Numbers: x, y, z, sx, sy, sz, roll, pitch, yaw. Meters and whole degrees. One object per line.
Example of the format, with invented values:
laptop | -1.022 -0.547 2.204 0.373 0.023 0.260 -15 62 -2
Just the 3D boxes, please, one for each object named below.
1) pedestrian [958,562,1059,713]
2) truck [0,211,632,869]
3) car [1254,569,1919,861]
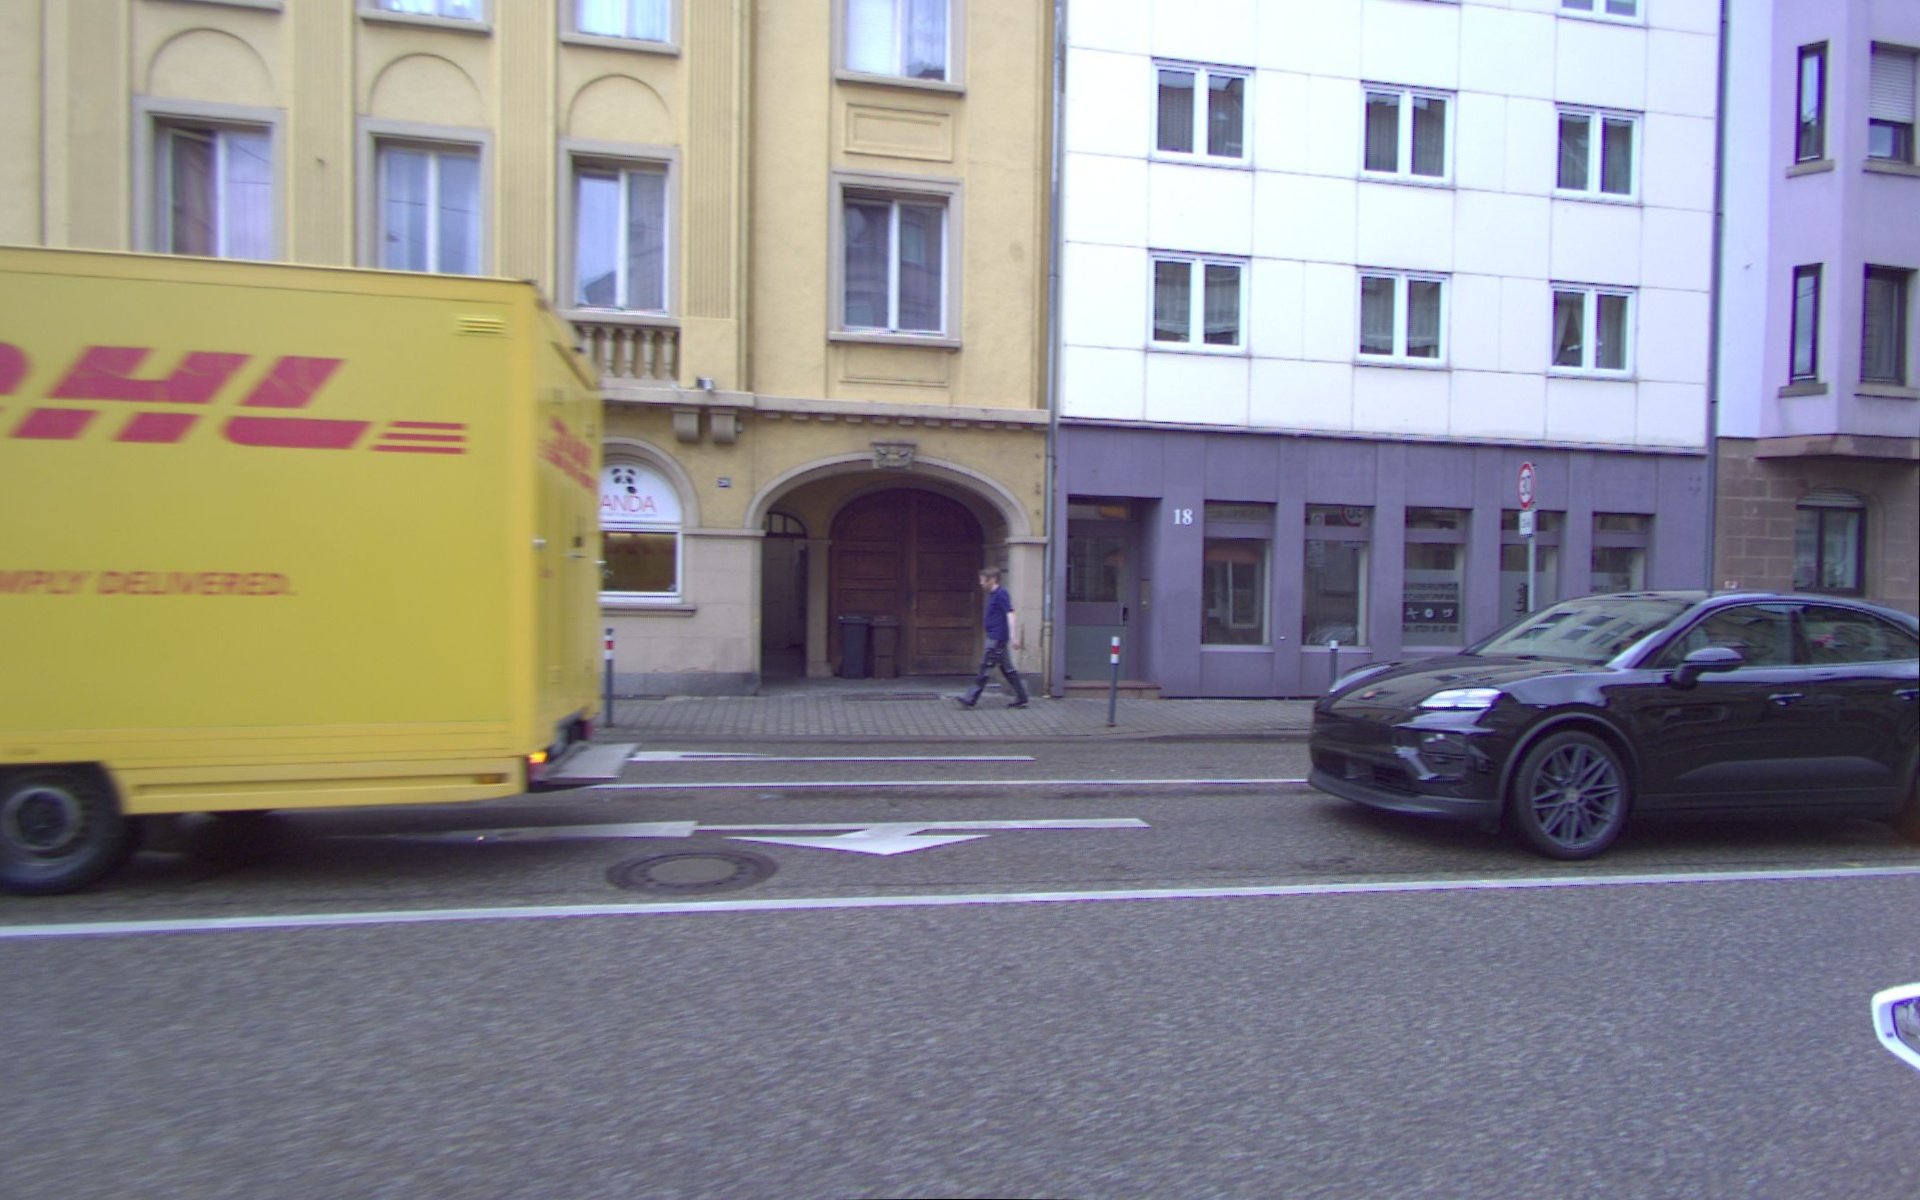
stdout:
pedestrian | 0.590 0.453 12.657 1.015 1.795 0.893 2 4 -12
truck | -5.449 -0.286 5.101 6.901 2.787 2.230 2 0 -12
car | 4.594 0.699 6.938 4.524 1.604 1.945 2 0 -11
